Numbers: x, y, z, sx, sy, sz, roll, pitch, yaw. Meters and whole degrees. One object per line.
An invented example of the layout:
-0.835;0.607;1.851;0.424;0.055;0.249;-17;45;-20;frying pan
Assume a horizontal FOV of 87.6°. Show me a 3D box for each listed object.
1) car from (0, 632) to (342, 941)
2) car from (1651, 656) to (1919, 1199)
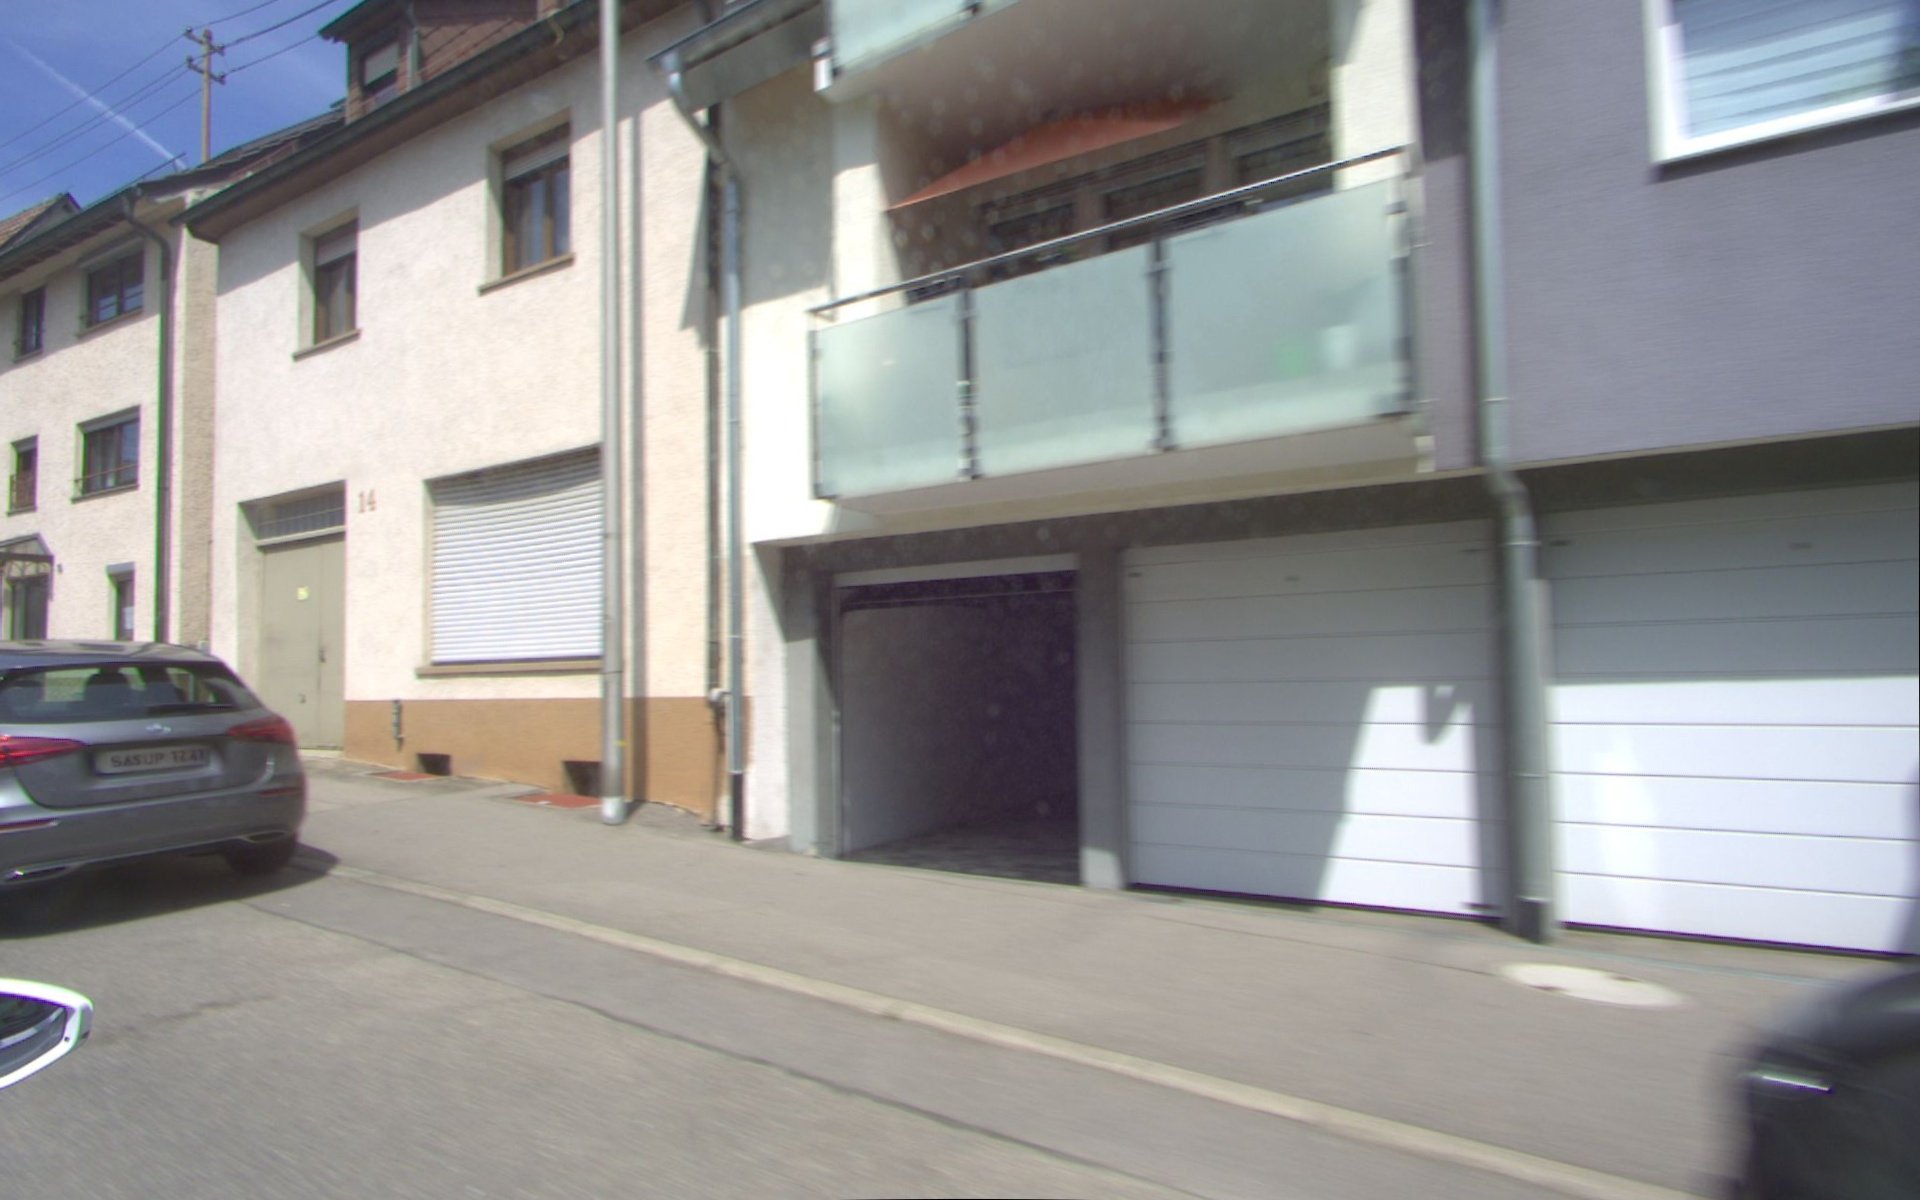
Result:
-5.990;0.914;6.259;4.346;1.420;1.792;-1;-2;30;car
2.969;0.765;0.516;4.232;1.442;1.793;-2;-3;34;car
